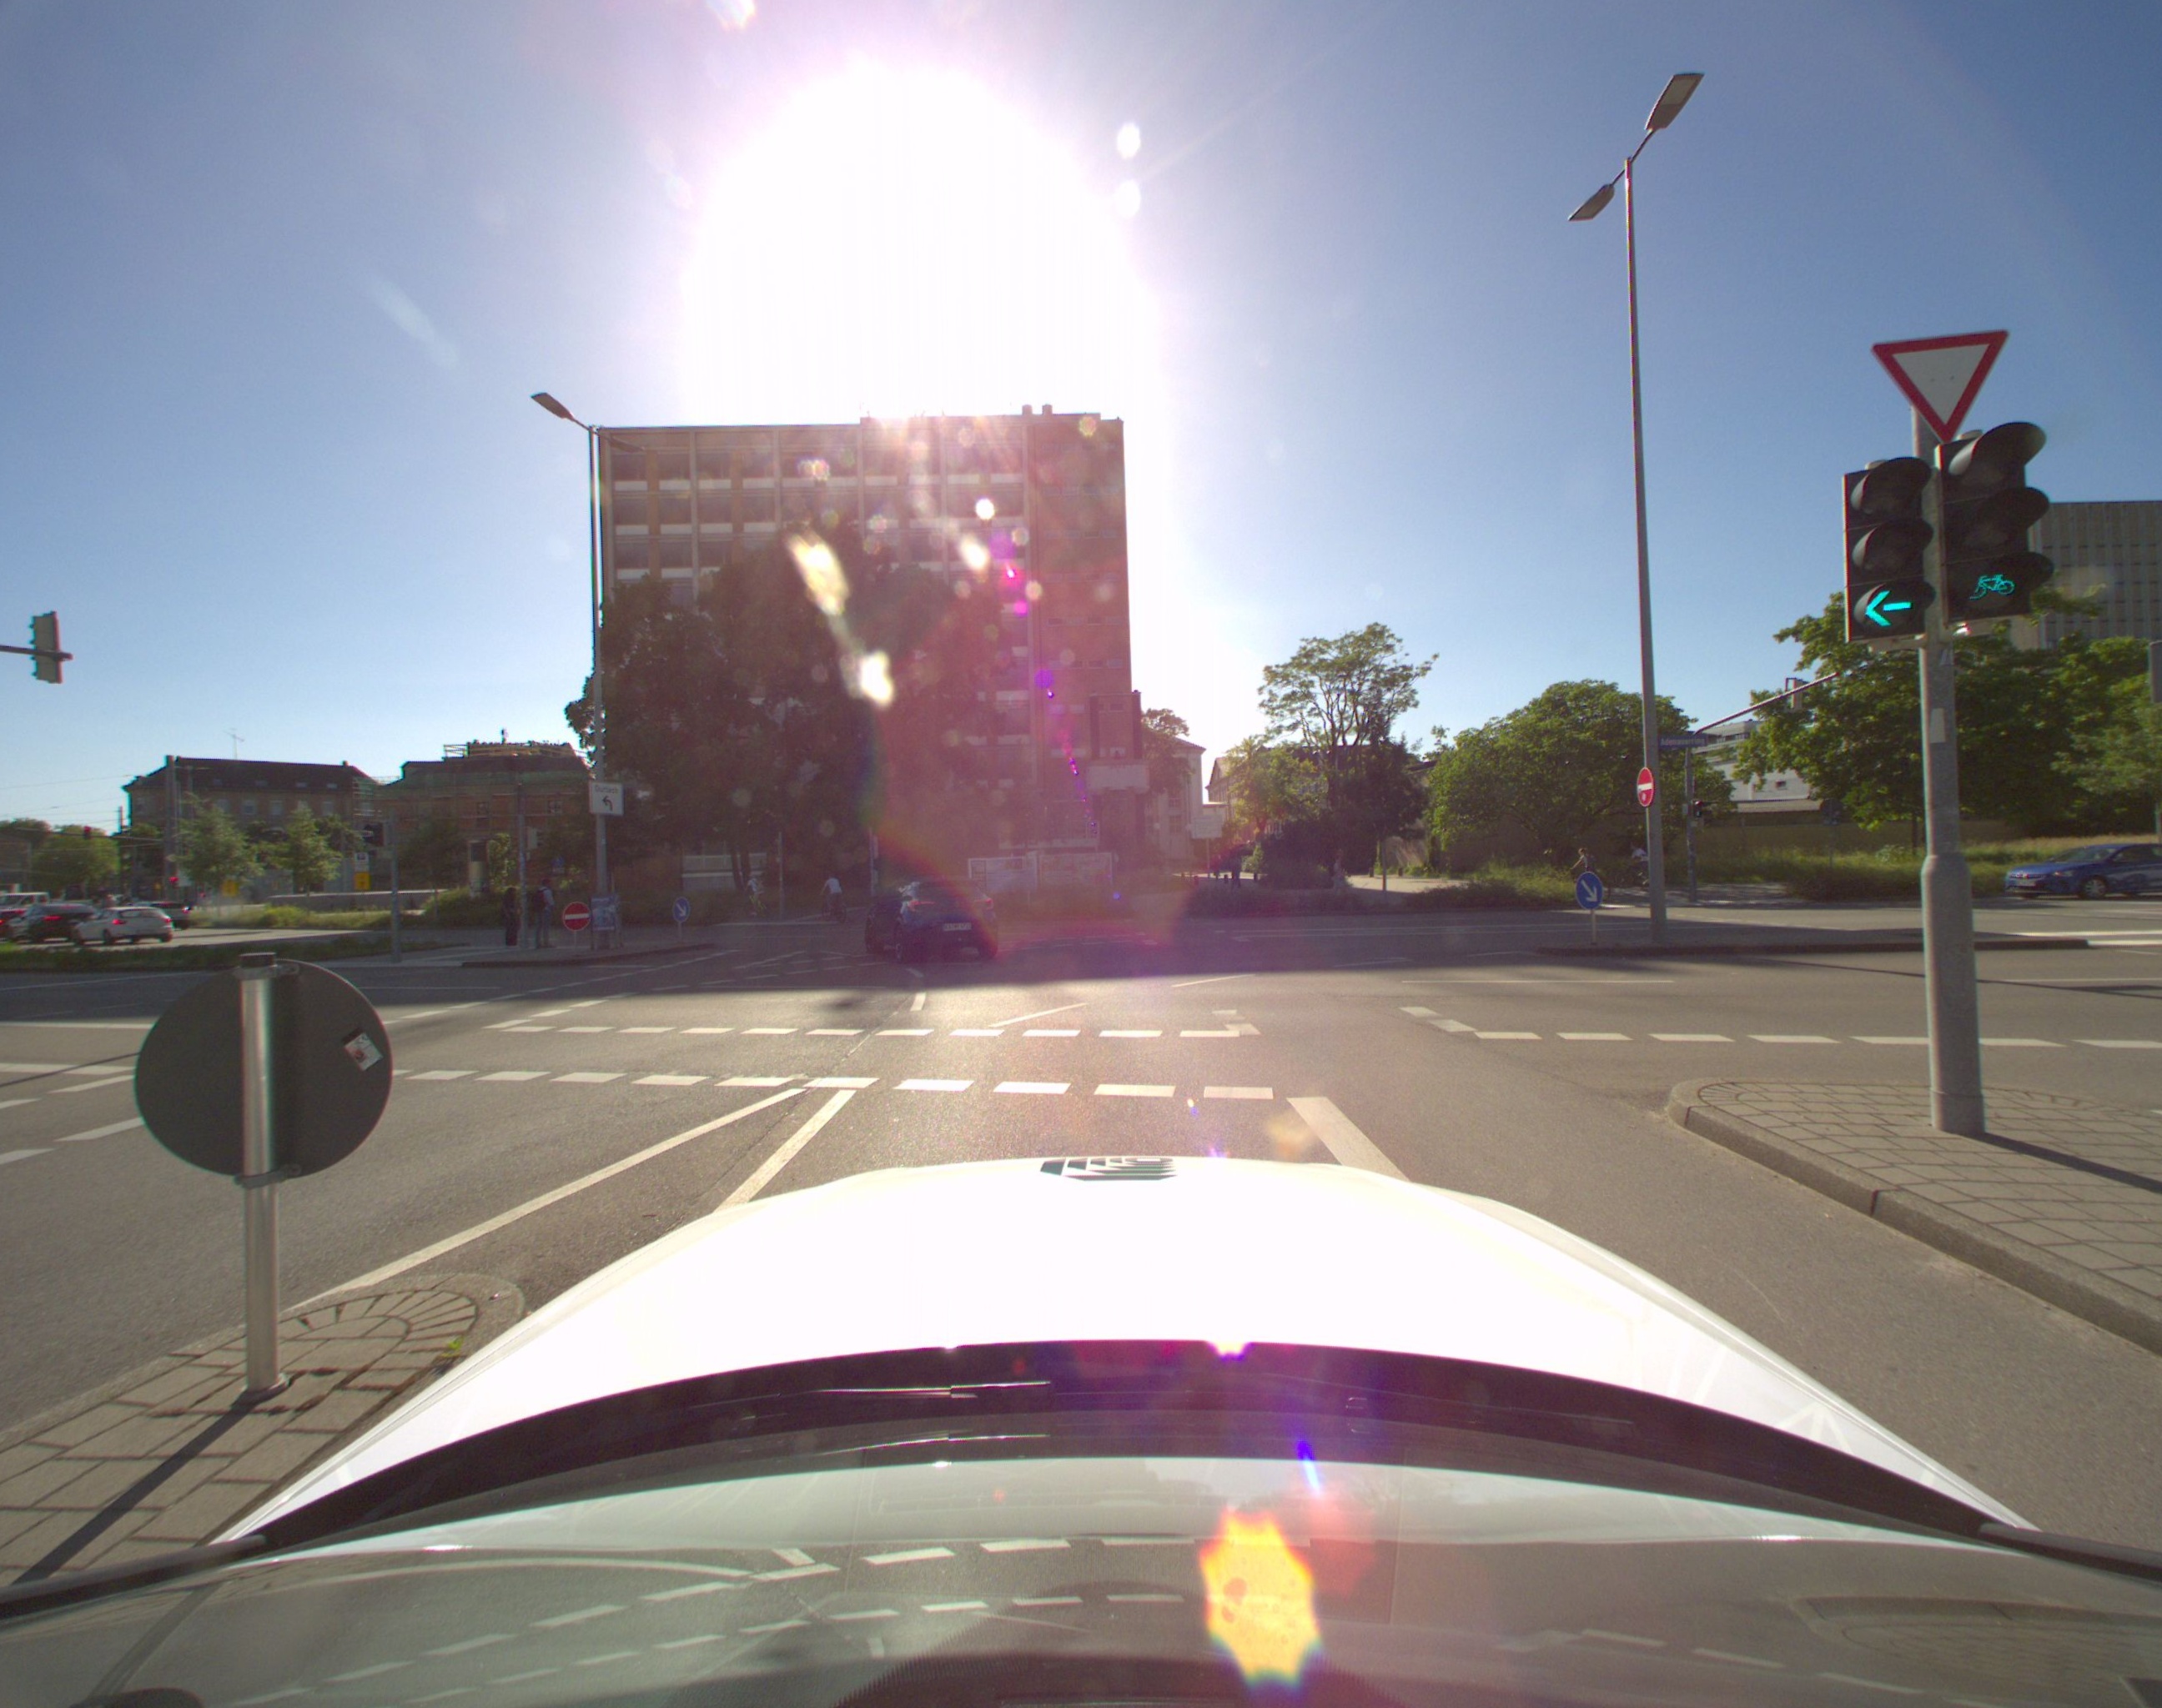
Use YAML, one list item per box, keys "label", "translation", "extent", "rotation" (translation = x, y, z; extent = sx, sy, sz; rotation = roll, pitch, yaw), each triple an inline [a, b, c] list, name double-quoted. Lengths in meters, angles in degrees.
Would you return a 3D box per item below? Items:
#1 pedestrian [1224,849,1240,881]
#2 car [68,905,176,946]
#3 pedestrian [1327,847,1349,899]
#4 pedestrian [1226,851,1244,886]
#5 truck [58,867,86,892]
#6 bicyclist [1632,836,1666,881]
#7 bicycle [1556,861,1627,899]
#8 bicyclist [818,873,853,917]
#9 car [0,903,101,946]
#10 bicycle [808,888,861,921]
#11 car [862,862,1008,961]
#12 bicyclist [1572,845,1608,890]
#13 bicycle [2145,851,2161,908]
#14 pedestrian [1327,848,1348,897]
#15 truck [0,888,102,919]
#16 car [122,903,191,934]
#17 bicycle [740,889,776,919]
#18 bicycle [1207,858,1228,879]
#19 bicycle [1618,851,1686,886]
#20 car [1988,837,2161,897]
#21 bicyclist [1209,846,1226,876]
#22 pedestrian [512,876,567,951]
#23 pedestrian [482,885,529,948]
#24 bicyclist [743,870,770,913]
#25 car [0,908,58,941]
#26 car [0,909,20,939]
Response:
- label: "pedestrian"
  translation: [7.844, 0.582, 42.296]
  extent: [0.669, 1.643, 0.740]
  rotation: [0, -1, 27]
- label: "car"
  translation: [-37.718, 2.791, 32.033]
  extent: [3.691, 1.436, 1.706]
  rotation: [-2, -1, 23]
- label: "pedestrian"
  translation: [9.179, 0.663, 29.094]
  extent: [0.727, 1.816, 0.735]
  rotation: [0, -1, 18]
- label: "pedestrian"
  translation: [7.467, 0.702, 39.453]
  extent: [0.669, 1.643, 0.740]
  rotation: [0, -1, 32]
- label: "truck"
  translation: [-157.760, 3.967, 127.371]
  extent: [5.159, 3.674, 2.618]
  rotation: [0, -1, 41]
- label: "bicyclist"
  translation: [20.985, 0.147, 30.118]
  extent: [0.824, 1.595, 0.634]
  rotation: [-3, 2, 13]
- label: "bicycle"
  translation: [16.667, 0.822, 26.634]
  extent: [0.646, 1.165, 1.850]
  rotation: [-3, 1, -34]
- label: "bicyclist"
  translation: [-9.203, 1.538, 30.563]
  extent: [0.966, 1.617, 0.726]
  rotation: [-2, -1, 24]
- label: "car"
  translation: [-44.175, 2.994, 34.644]
  extent: [4.324, 1.624, 2.001]
  rotation: [-2, -1, 23]
- label: "bicycle"
  translation: [-9.250, 1.906, 30.579]
  extent: [1.847, 1.165, 0.722]
  rotation: [-2, 0, 25]
- label: "car"
  translation: [-2.963, 1.111, 15.891]
  extent: [1.886, 1.618, 3.765]
  rotation: [-1, -4, -25]
- label: "bicyclist"
  translation: [16.645, 0.435, 26.629]
  extent: [0.646, 1.444, 0.768]
  rotation: [-3, 1, -34]
- label: "bicycle"
  translation: [23.137, 0.483, 16.572]
  extent: [1.857, 1.165, 0.749]
  rotation: [-3, 0, 2]
- label: "pedestrian"
  translation: [9.508, 0.683, 30.132]
  extent: [0.727, 1.782, 0.735]
  rotation: [0, -1, 18]
- label: "truck"
  translation: [-88.950, 4.195, 69.964]
  extent: [2.214, 2.313, 6.860]
  rotation: [-2, -1, -10]
- label: "car"
  translation: [-51.930, 3.597, 45.743]
  extent: [3.578, 1.618, 1.894]
  rotation: [-3, -2, 30]
- label: "bicycle"
  translation: [-13.565, 2.066, 34.140]
  extent: [0.752, 1.165, 1.847]
  rotation: [-1, -1, -43]
- label: "bicycle"
  translation: [8.033, 0.868, 47.789]
  extent: [0.739, 1.165, 1.881]
  rotation: [-2, 0, 23]
- label: "bicycle"
  translation: [21.089, 0.544, 30.117]
  extent: [1.936, 1.165, 0.646]
  rotation: [-3, 2, 14]
- label: "car"
  translation: [27.152, 0.336, 21.632]
  extent: [3.969, 1.442, 1.707]
  rotation: [-2, -2, 4]
- label: "bicyclist"
  translation: [8.013, 0.422, 47.787]
  extent: [0.713, 1.735, 0.983]
  rotation: [-2, -1, 23]
- label: "pedestrian"
  translation: [-13.944, 1.512, 21.013]
  extent: [0.753, 1.833, 1.092]
  rotation: [-2, -2, -8]
- label: "pedestrian"
  translation: [-15.270, 1.658, 21.630]
  extent: [0.711, 1.612, 0.685]
  rotation: [-2, -1, 16]
- label: "bicyclist"
  translation: [-13.625, 1.563, 34.188]
  extent: [0.726, 1.763, 0.966]
  rotation: [-1, -1, -44]
- label: "car"
  translation: [-49.437, 3.265, 37.843]
  extent: [3.674, 1.443, 1.687]
  rotation: [-3, -3, 28]
- label: "car"
  translation: [-54.902, 3.503, 40.670]
  extent: [3.750, 1.443, 1.741]
  rotation: [-3, -3, 28]
